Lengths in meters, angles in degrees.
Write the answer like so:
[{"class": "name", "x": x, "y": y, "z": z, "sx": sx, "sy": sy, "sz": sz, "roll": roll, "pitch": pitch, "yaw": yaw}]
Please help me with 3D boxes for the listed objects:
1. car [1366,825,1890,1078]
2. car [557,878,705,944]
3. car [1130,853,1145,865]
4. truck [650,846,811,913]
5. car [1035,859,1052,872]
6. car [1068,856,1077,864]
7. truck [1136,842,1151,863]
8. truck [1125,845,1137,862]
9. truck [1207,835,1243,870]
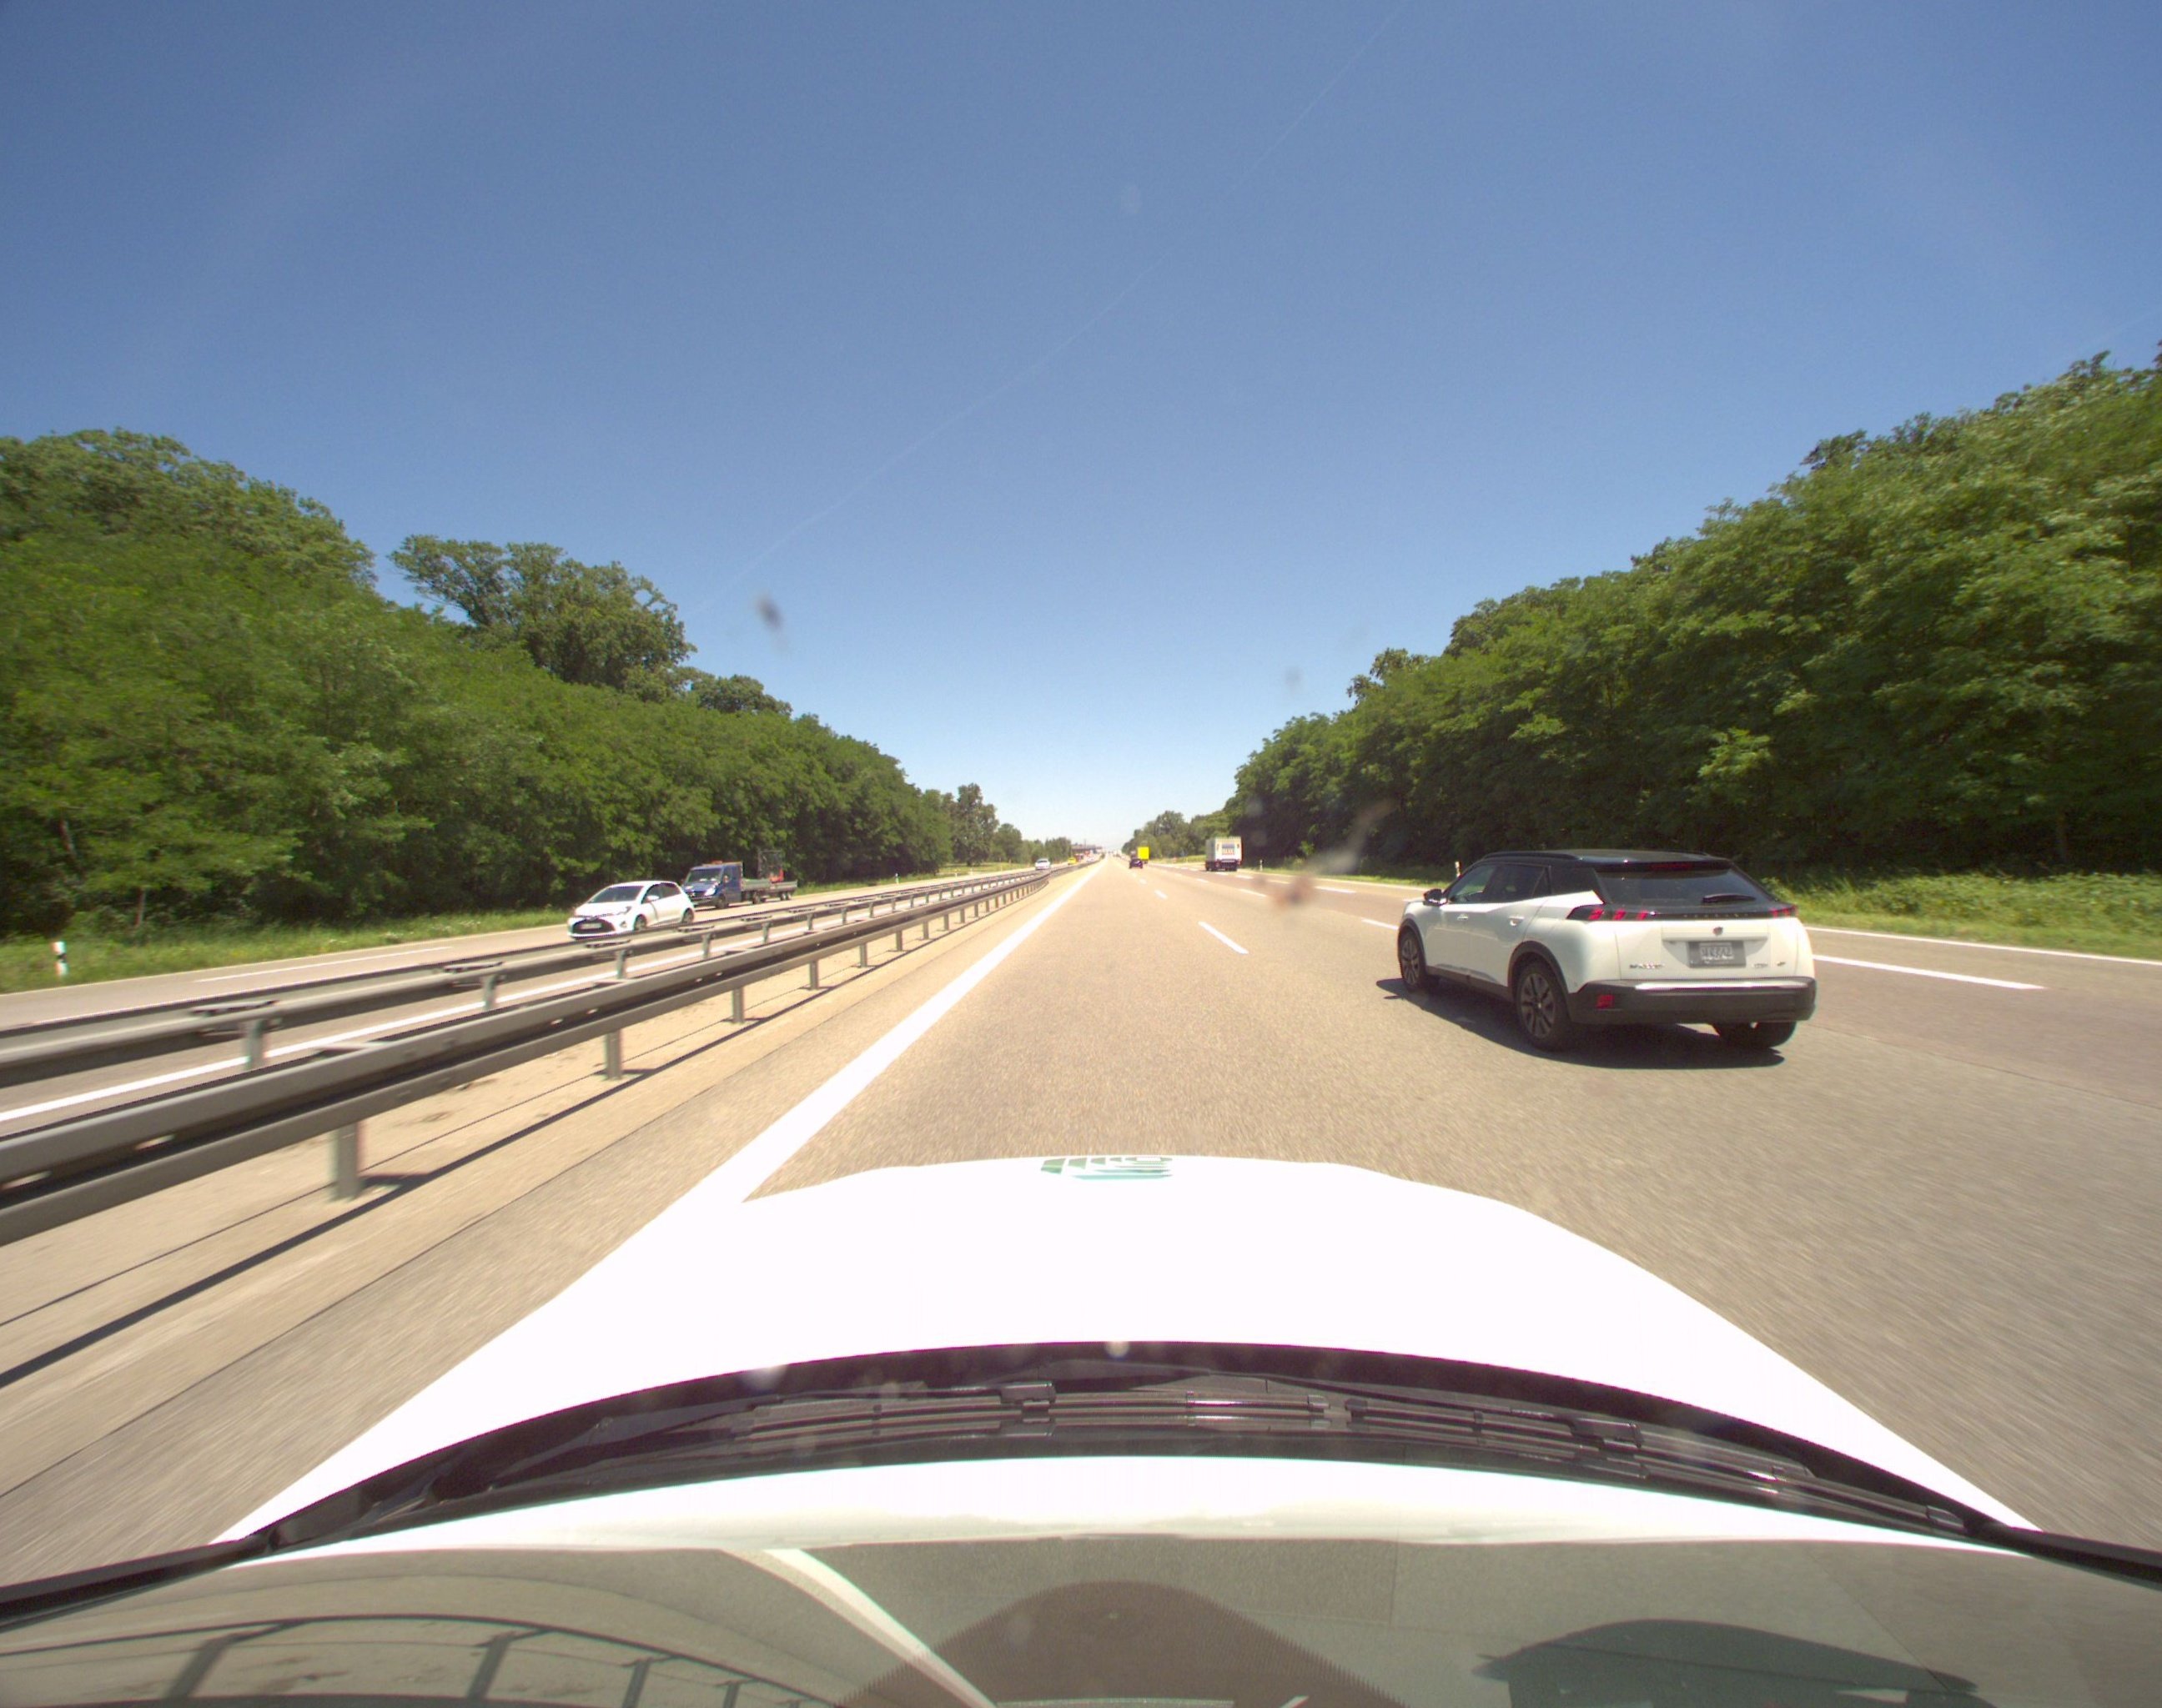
[{"class": "car", "x": 4.407, "y": 0.651, "z": 7.722, "sx": 1.820, "sy": 1.608, "sz": 4.810, "roll": -1, "pitch": 0, "yaw": 2}, {"class": "car", "x": -12.398, "y": 1.510, "z": 22.794, "sx": 1.682, "sy": 1.544, "sz": 4.206, "roll": -1, "pitch": 0, "yaw": 2}, {"class": "car", "x": 7.657, "y": 0.679, "z": 110.856, "sx": 1.820, "sy": 1.706, "sz": 4.001, "roll": -1, "pitch": 0, "yaw": 2}, {"class": "truck", "x": -18.551, "y": 1.229, "z": 44.543, "sx": 2.743, "sy": 2.990, "sz": 12.860, "roll": -3, "pitch": 0, "yaw": 2}, {"class": "car", "x": -5.423, "y": 1.646, "z": 118.625, "sx": 1.986, "sy": 1.706, "sz": 5.267, "roll": -1, "pitch": 1, "yaw": 2}, {"class": "car", "x": -2.155, "y": 1.614, "z": 207.058, "sx": 1.986, "sy": 1.964, "sz": 5.213, "roll": -1, "pitch": 0, "yaw": 2}, {"class": "truck", "x": 15.393, "y": -0.357, "z": 201.247, "sx": 3.363, "sy": 4.881, "sz": 15.096, "roll": -1, "pitch": 0, "yaw": 3}, {"class": "truck", "x": 15.127, "y": -0.131, "z": 245.638, "sx": 3.353, "sy": 4.881, "sz": 15.096, "roll": -1, "pitch": 0, "yaw": 3}, {"class": "truck", "x": 14.871, "y": -0.134, "z": 84.835, "sx": 3.013, "sy": 3.319, "sz": 10.789, "roll": -1, "pitch": 0, "yaw": 6}]
